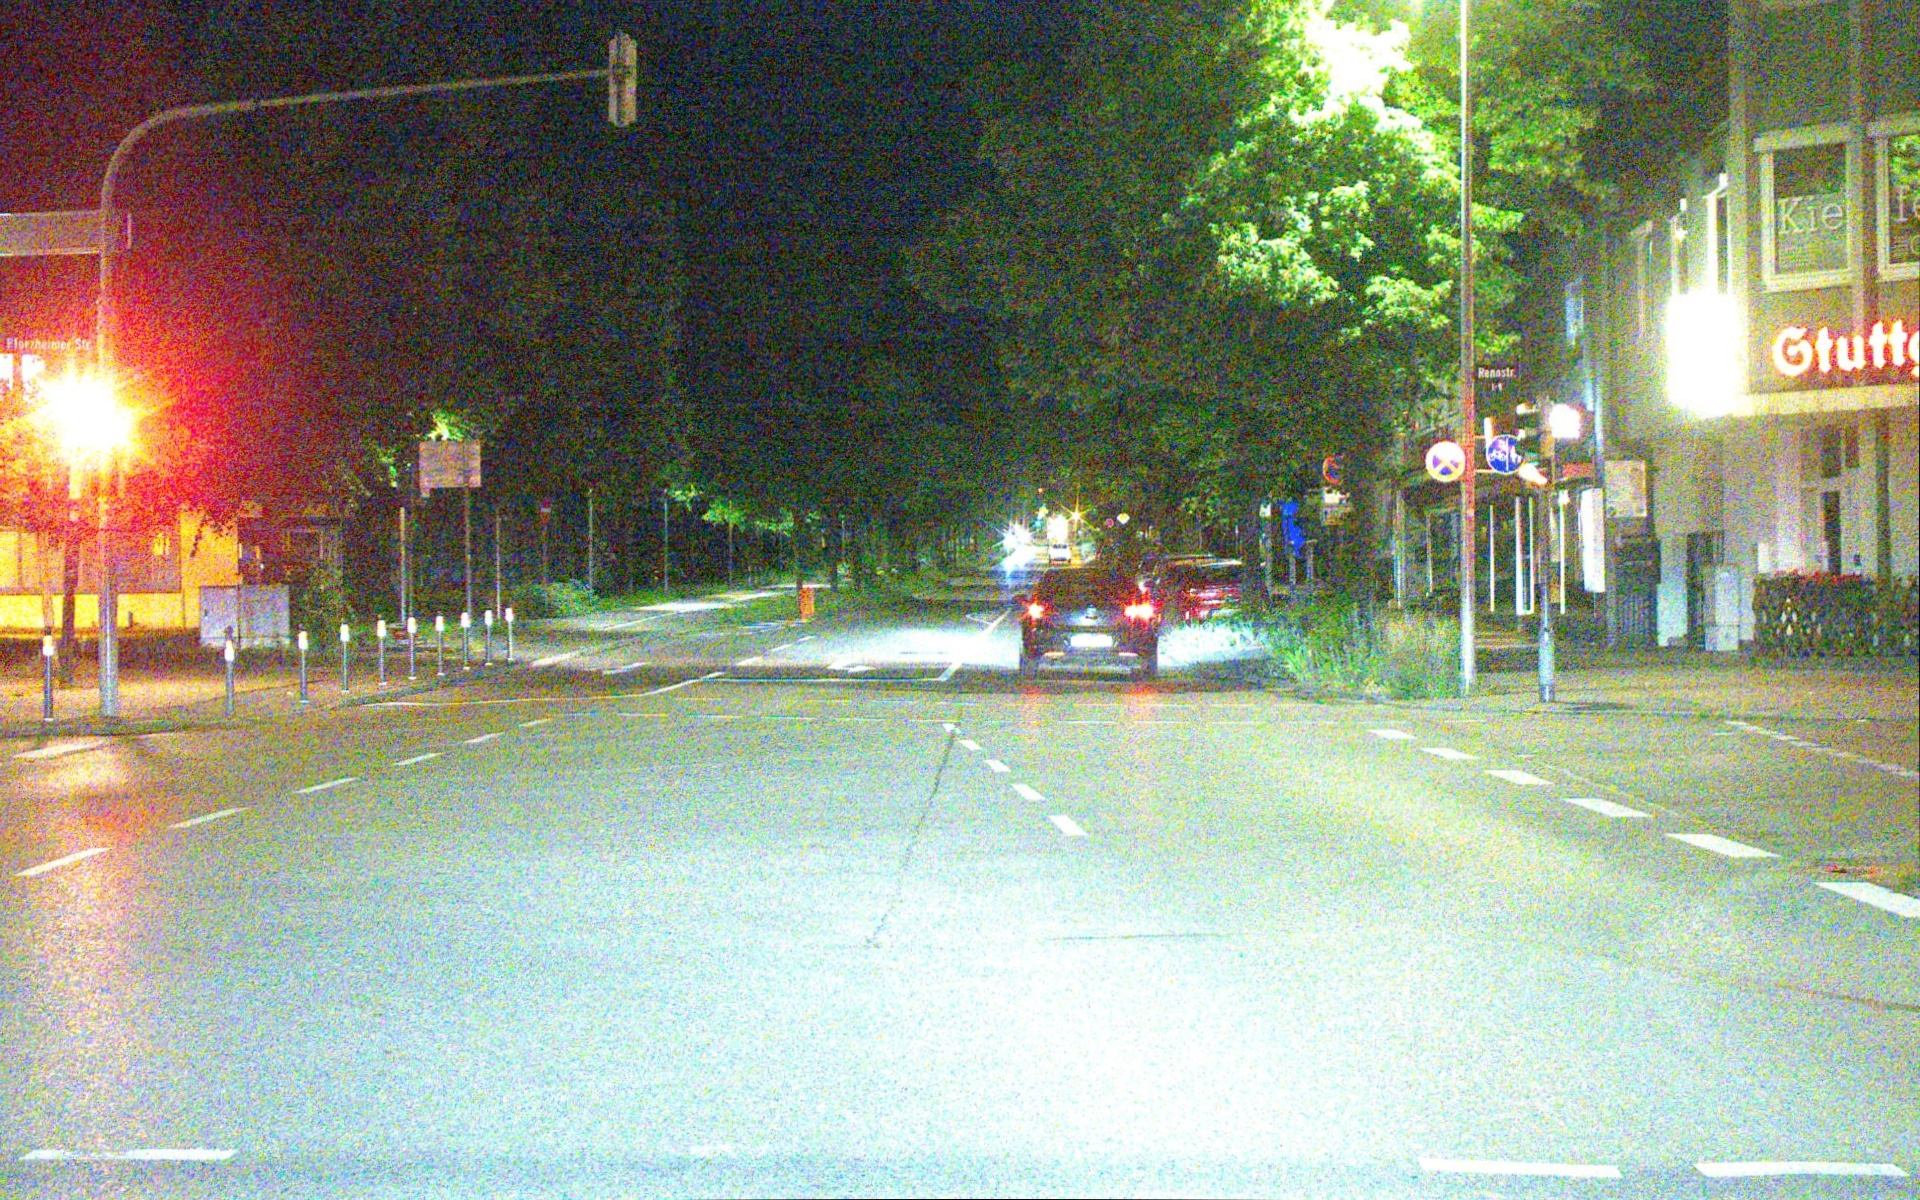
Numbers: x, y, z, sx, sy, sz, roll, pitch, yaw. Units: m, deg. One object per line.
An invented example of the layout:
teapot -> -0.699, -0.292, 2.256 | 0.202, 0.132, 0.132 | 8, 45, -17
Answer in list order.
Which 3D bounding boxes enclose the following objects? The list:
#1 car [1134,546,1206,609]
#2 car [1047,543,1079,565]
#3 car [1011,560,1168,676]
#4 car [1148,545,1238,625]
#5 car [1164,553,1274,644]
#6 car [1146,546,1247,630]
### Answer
car -> 5.746, -0.622, 94.512 | 1.876, 1.678, 4.000 | 0, 1, 2
car -> 7.597, -3.396, 253.198 | 2.227, 1.645, 4.000 | 0, 1, 0
car -> 1.673, 0.206, 45.668 | 1.873, 1.449, 4.317 | 1, 1, 0
car -> 5.166, -0.341, 76.469 | 1.876, 1.723, 4.000 | 0, 1, 2
car -> 4.748, -0.050, 63.471 | 1.876, 1.610, 4.000 | 0, 1, 2
car -> 4.706, -0.260, 68.798 | 1.876, 1.610, 4.000 | 0, 1, 2
